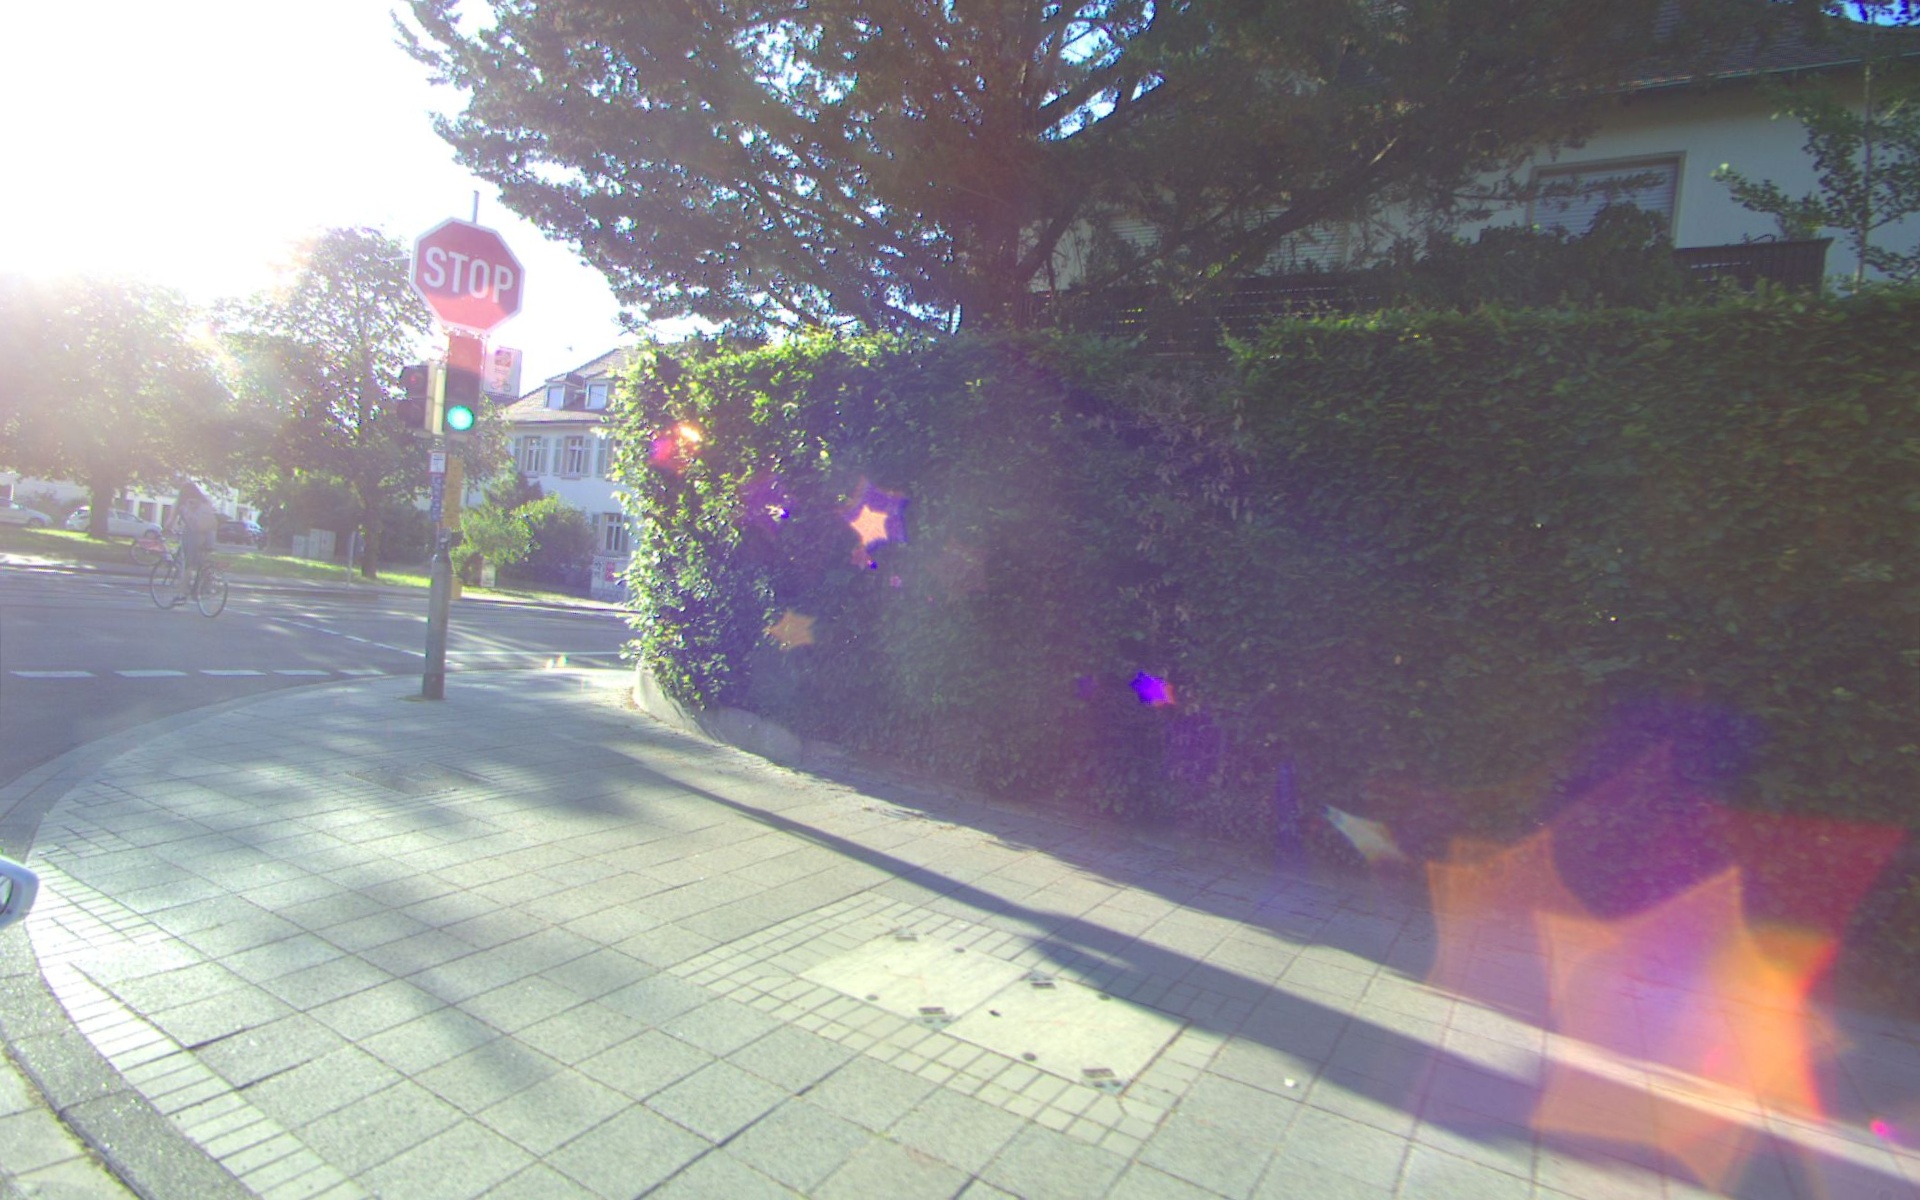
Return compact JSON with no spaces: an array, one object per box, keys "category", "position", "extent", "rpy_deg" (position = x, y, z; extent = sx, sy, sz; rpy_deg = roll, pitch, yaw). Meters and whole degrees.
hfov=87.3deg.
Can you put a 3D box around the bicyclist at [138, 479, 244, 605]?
[{"category":"bicyclist","position":[-10.474,-0.788,13.707],"extent":[0.879,1.580,0.714],"rpy_deg":[5,-2,30]}]

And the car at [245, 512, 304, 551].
[{"category":"car","position":[-52.143,-5.166,76.637],"extent":[2.080,2.364,4.510],"rpy_deg":[7,-3,-14]}]

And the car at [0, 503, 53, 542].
[{"category":"car","position":[-44.354,-3.684,46.232],"extent":[1.577,1.534,3.561],"rpy_deg":[5,-1,26]}]

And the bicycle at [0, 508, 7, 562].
[{"category":"bicycle","position":[-11.929,-0.567,11.473],"extent":[1.869,1.197,0.575],"rpy_deg":[6,-2,16]}]

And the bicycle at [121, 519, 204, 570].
[{"category":"bicycle","position":[-20.025,-1.379,25.286],"extent":[0.460,1.103,1.521],"rpy_deg":[5,-1,37]}]

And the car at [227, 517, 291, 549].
[{"category":"car","position":[-42.727,-4.031,61.423],"extent":[1.970,1.571,3.985],"rpy_deg":[6,0,-17]}]

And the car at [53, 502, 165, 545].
[{"category":"car","position":[-42.410,-3.787,50.214],"extent":[1.497,1.541,3.931],"rpy_deg":[4,-2,27]}]

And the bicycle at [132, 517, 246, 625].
[{"category":"bicycle","position":[-10.557,-0.414,13.757],"extent":[1.931,1.198,0.492],"rpy_deg":[9,0,33]}]
